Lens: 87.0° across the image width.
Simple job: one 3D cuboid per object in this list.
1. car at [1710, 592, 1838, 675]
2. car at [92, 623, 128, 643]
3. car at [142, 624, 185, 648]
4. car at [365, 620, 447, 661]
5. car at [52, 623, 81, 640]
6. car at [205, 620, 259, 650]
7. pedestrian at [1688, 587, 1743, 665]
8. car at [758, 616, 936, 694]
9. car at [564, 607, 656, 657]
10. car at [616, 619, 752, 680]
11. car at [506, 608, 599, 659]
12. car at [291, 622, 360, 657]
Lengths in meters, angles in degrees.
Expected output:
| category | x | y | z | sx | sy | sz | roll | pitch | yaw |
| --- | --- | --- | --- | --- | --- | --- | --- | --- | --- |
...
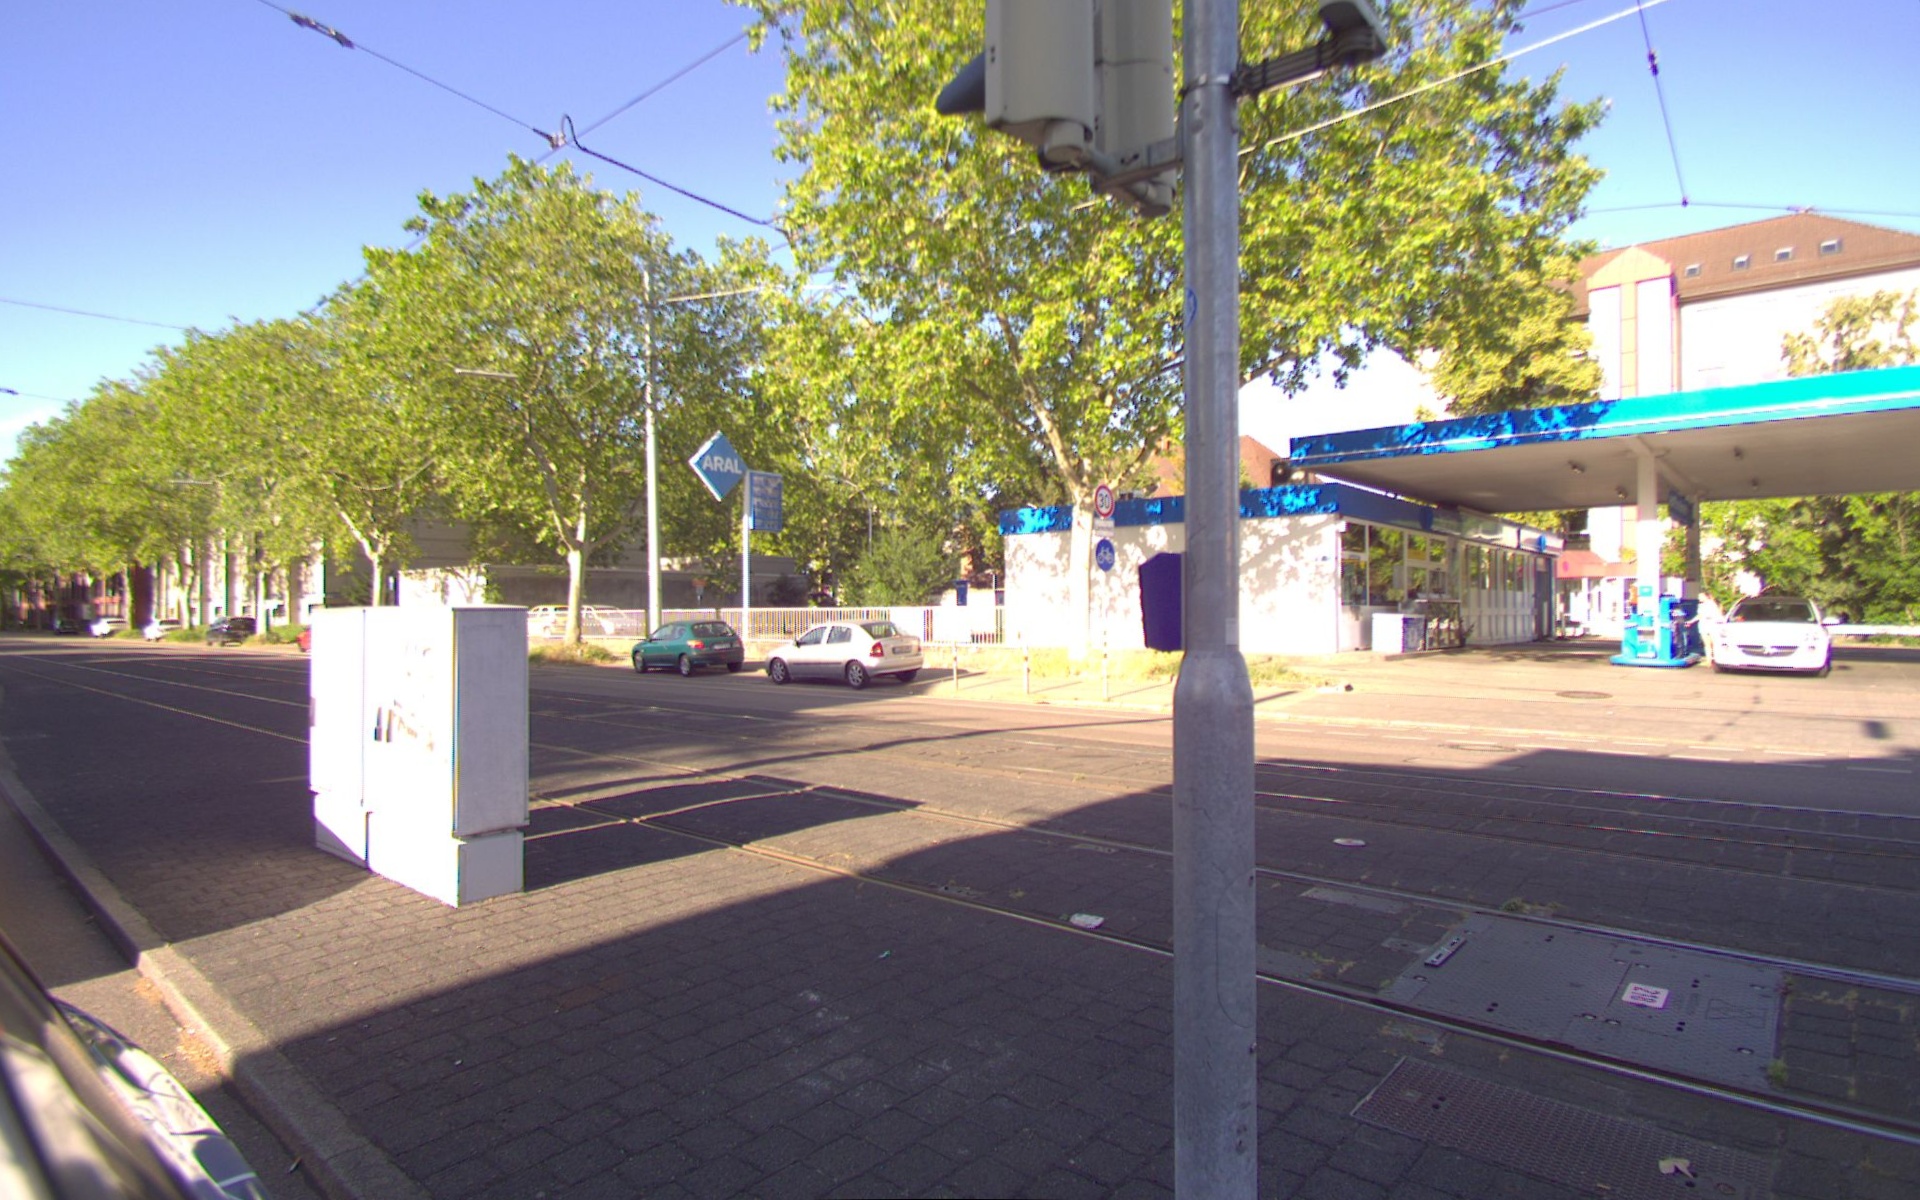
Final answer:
| category | x | y | z | sx | sy | sz | roll | pitch | yaw |
| --- | --- | --- | --- | --- | --- | --- | --- | --- | --- |
| car | 15.944 | 0.612 | 19.788 | 1.793 | 1.453 | 3.946 | -1 | -1 | 40 |
| car | -66.919 | 2.565 | 79.654 | 3.858 | 1.495 | 1.735 | -1 | 0 | 43 |
| car | -53.632 | 2.386 | 68.133 | 3.858 | 1.495 | 1.735 | -1 | 0 | 43 |
| car | -21.980 | 1.581 | 40.100 | 3.858 | 1.468 | 1.735 | -1 | 0 | 43 |
| car | -84.864 | 2.994 | 96.130 | 3.858 | 1.495 | 1.735 | -1 | 0 | 43 |
| car | -40.670 | 1.945 | 56.496 | 3.858 | 1.557 | 1.735 | -1 | 0 | 43 |
| pedestrian | 16.144 | 0.552 | 21.627 | 0.637 | 1.642 | 0.814 | 1 | -2 | -42 |
| car | -2.570 | 1.163 | 22.604 | 3.857 | 1.497 | 1.823 | -1 | 1 | 42 |
| car | -15.141 | 1.357 | 43.699 | 3.996 | 2.029 | 1.974 | -1 | -1 | 39 |
| car | -7.430 | 1.269 | 27.084 | 3.858 | 1.408 | 1.722 | -1 | 1 | 43 |
| car | -17.040 | 1.387 | 42.271 | 3.996 | 2.029 | 1.974 | -1 | -1 | 39 |
| car | -28.907 | 1.765 | 46.055 | 3.858 | 1.440 | 1.695 | -1 | 0 | 43 |
